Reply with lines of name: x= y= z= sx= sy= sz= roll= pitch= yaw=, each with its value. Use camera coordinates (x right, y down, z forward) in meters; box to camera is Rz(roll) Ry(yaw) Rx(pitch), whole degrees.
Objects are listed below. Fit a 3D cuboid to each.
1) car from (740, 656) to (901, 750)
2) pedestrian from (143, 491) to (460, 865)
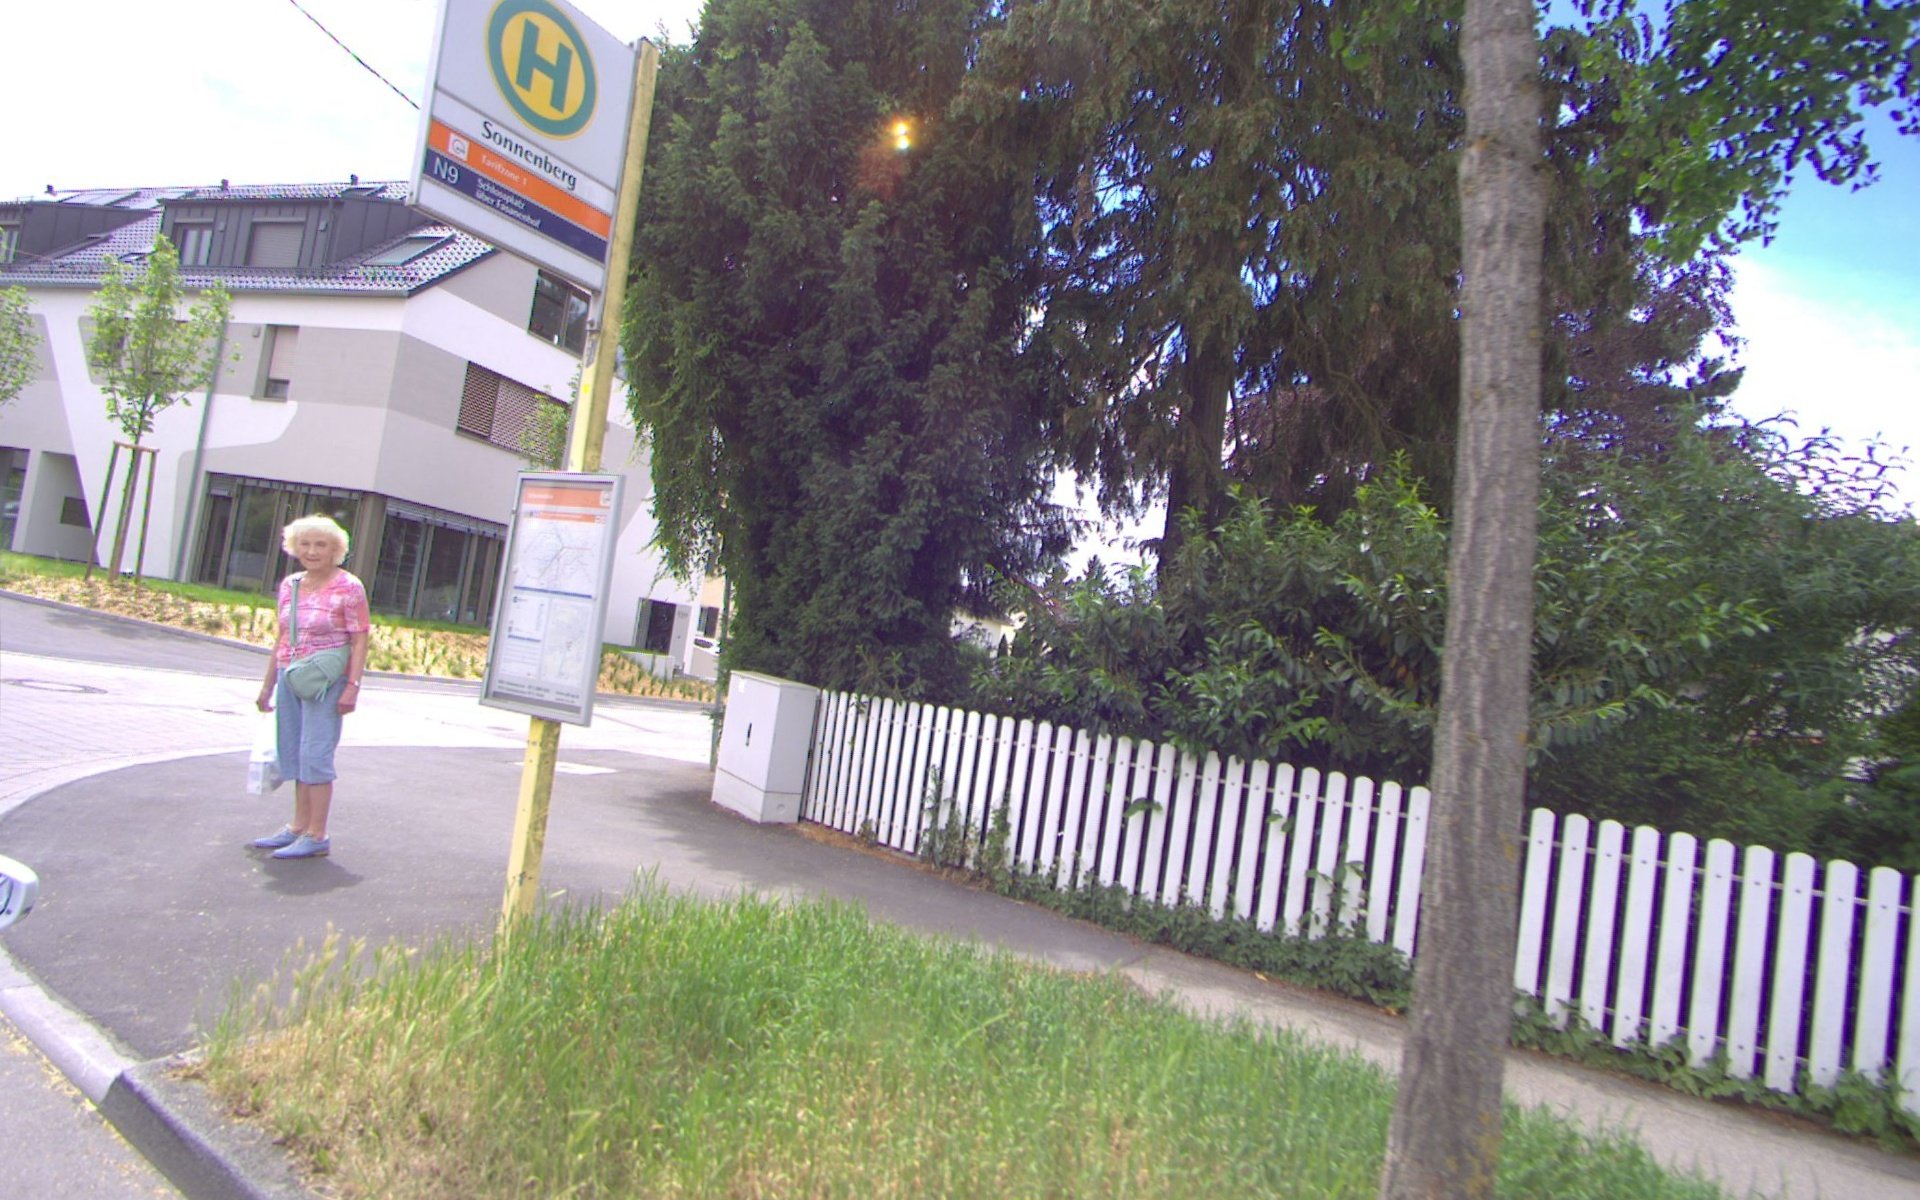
car: x=-2.719 y=2.155 z=20.401 sx=1.682 sy=1.471 sz=3.544 roll=8 pitch=-6 yaw=19
pedestrian: x=-3.318 y=0.378 z=5.111 sx=0.843 sy=1.663 sz=0.883 roll=6 pitch=-3 yaw=33
